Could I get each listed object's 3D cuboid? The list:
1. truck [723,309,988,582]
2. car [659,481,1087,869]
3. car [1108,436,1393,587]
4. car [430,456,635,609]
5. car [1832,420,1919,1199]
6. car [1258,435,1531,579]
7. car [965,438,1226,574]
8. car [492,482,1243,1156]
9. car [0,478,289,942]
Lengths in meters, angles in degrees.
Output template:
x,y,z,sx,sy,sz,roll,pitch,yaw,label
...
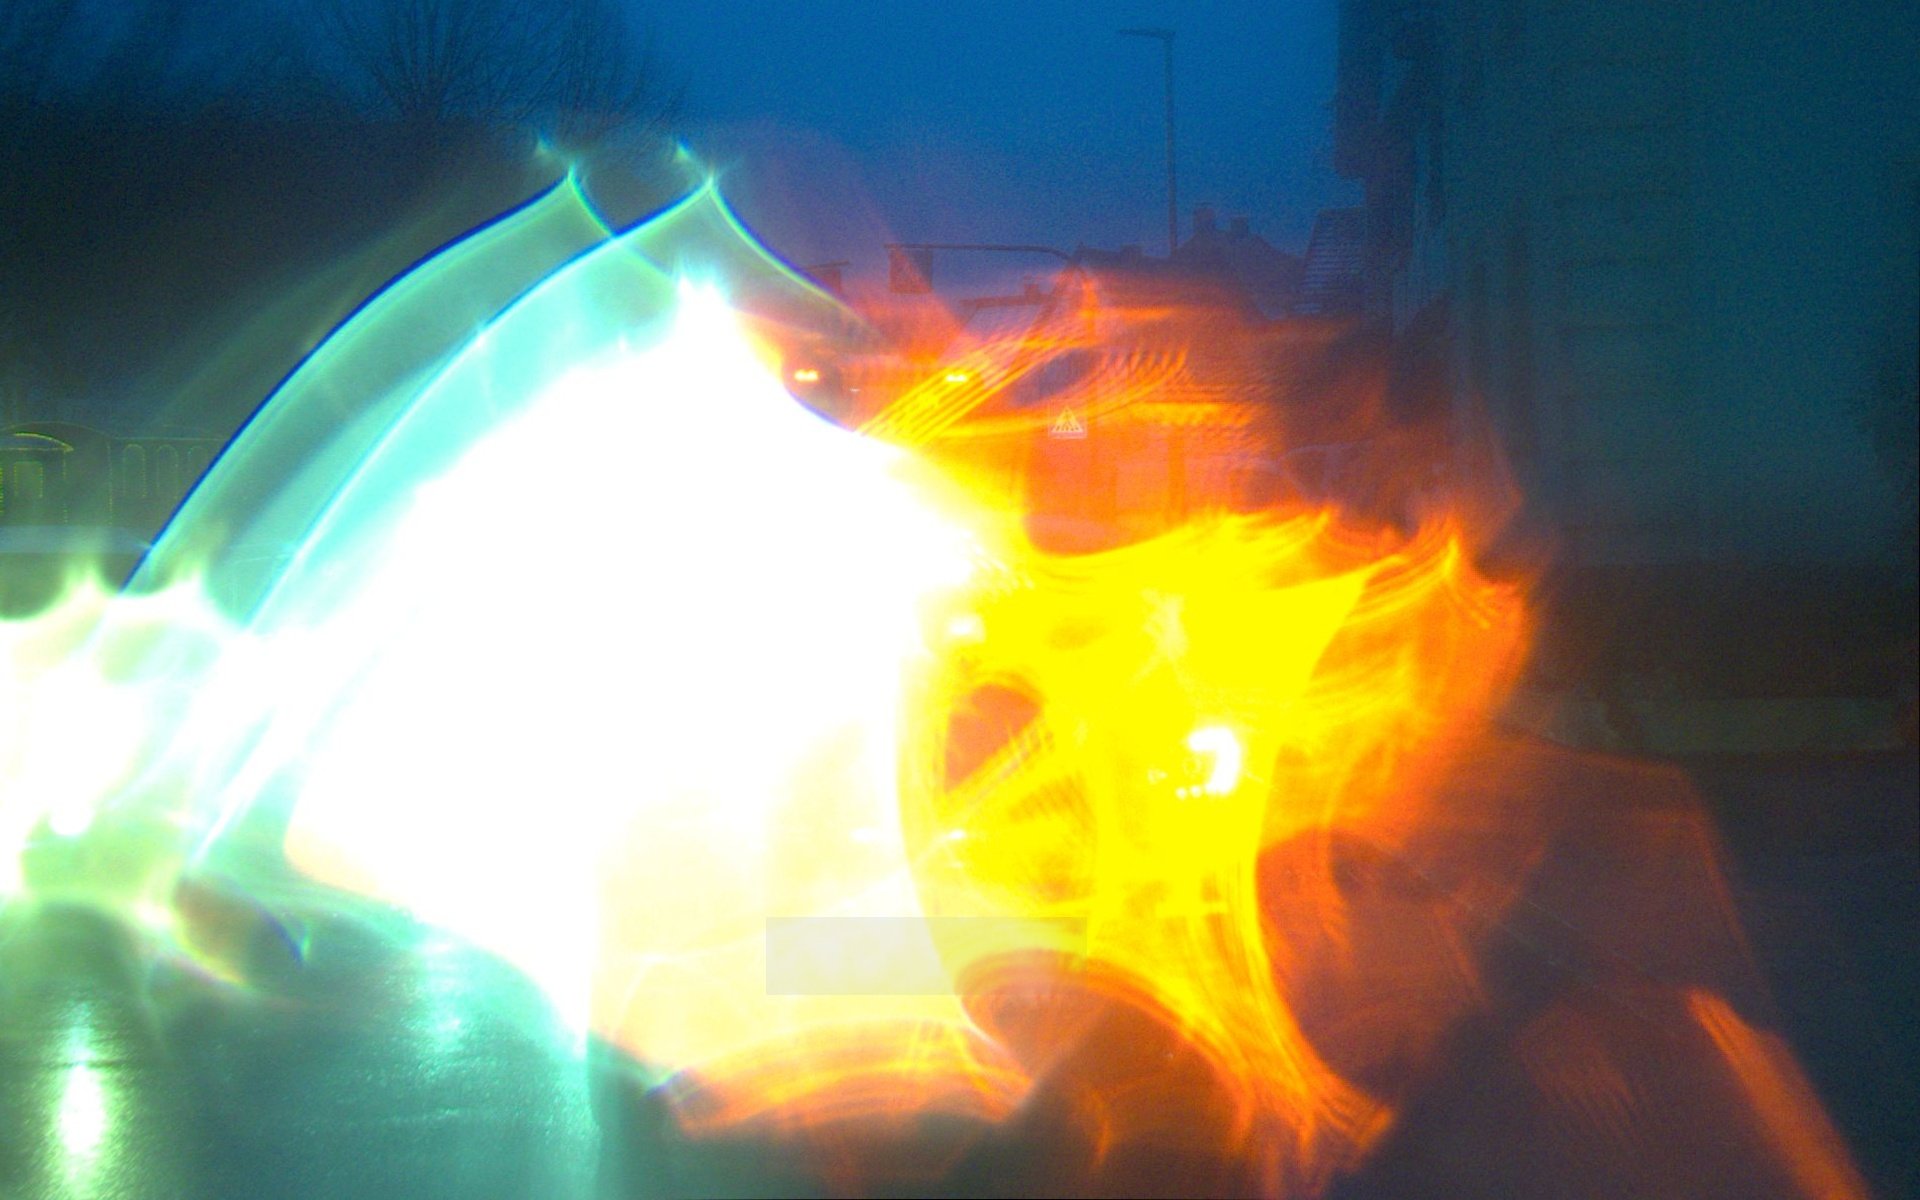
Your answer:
x,y,z,sx,sy,sz,roll,pitch,yaw,label
-1.398,-1.902,43.387,3.015,3.118,8.002,0,2,-3,truck
-0.403,0.231,14.818,1.638,1.476,3.272,0,2,-2,car
4.300,-1.315,50.727,4.098,2.155,1.913,0,2,7,car
-4.735,-0.793,38.608,1.810,1.590,4.400,-1,2,-1,car
3.797,0.397,6.341,3.869,1.574,1.682,-2,2,-6,car
6.686,-1.441,53.017,4.098,2.144,1.913,0,2,7,car
2.245,-1.544,56.087,4.098,2.144,1.913,0,2,7,car
-0.218,0.434,9.205,1.638,1.476,3.379,0,2,-1,car
-3.632,0.315,13.026,1.638,1.530,3.407,0,2,-2,car
